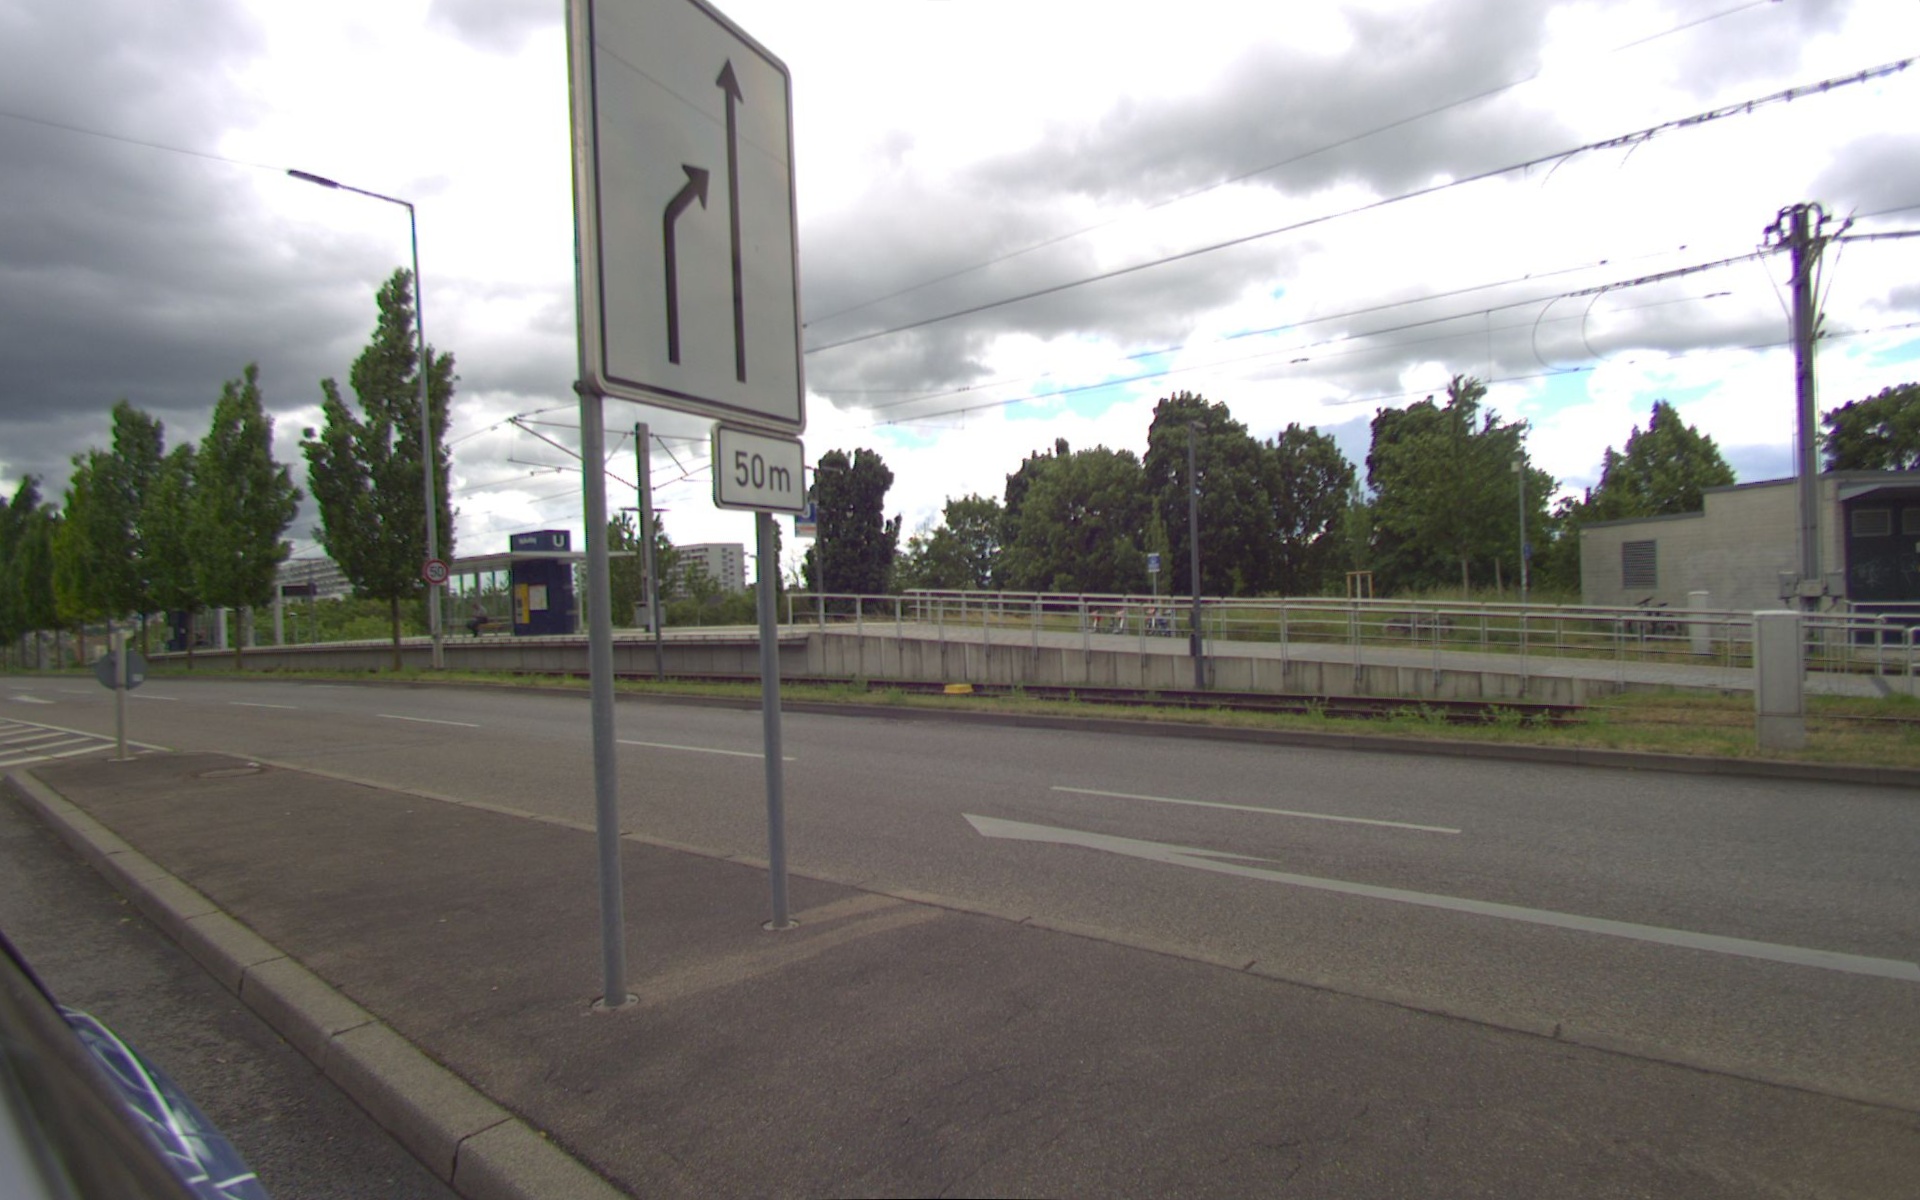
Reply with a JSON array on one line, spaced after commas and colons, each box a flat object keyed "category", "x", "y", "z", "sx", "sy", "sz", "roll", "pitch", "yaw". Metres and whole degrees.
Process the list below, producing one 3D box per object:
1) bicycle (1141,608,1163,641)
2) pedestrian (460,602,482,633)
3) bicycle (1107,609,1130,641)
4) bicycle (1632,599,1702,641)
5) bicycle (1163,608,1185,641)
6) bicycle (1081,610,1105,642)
[{"category": "bicycle", "x": 6.450, "y": 0.814, "z": 33.994, "sx": 0.531, "sy": 1.039, "sz": 1.804, "roll": -1, "pitch": 0, "yaw": 16}, {"category": "pedestrian", "x": -18.307, "y": 0.647, "z": 37.870, "sx": 0.447, "sy": 1.163, "sz": 0.593, "roll": -1, "pitch": 0, "yaw": 41}, {"category": "bicycle", "x": 5.394, "y": 0.842, "z": 34.447, "sx": 0.531, "sy": 1.039, "sz": 1.804, "roll": -1, "pitch": 0, "yaw": 16}, {"category": "bicycle", "x": 18.207, "y": 0.503, "z": 26.105, "sx": 0.529, "sy": 1.039, "sz": 1.813, "roll": -1, "pitch": 0, "yaw": 1}, {"category": "bicycle", "x": 7.129, "y": 0.802, "z": 33.688, "sx": 0.531, "sy": 1.039, "sz": 1.804, "roll": -1, "pitch": 0, "yaw": 16}, {"category": "bicycle", "x": 4.598, "y": 0.878, "z": 34.991, "sx": 0.531, "sy": 1.039, "sz": 1.804, "roll": -1, "pitch": 0, "yaw": 16}]
